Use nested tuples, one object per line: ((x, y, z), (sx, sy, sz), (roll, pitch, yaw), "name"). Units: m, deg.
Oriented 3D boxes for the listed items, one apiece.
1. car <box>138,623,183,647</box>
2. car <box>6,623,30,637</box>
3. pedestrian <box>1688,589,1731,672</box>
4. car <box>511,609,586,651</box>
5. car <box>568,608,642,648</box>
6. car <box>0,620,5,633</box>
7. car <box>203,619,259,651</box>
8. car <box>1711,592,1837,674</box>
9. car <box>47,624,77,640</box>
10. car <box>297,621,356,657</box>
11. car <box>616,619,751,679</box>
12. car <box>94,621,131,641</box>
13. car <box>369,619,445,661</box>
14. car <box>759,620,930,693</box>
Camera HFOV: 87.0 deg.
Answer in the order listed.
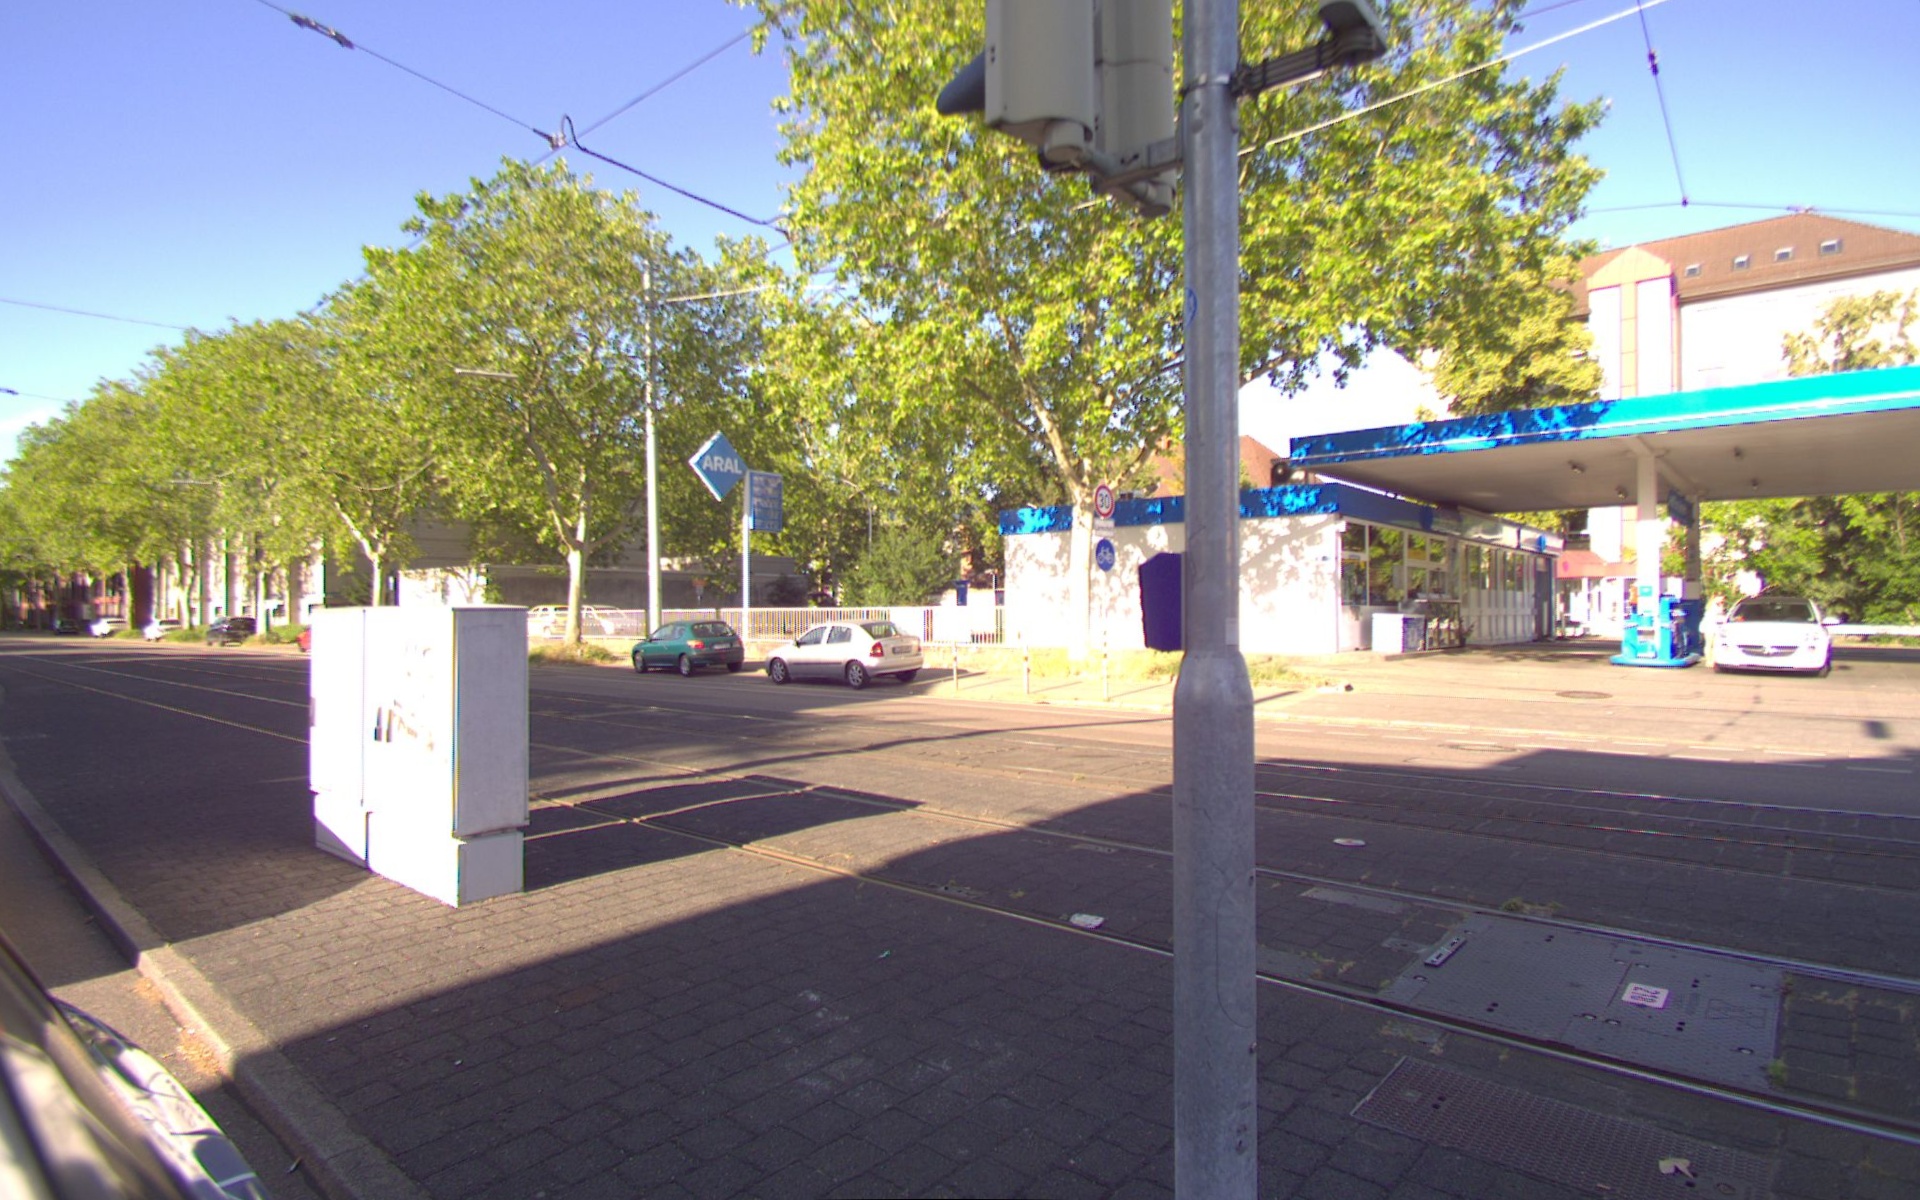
((-53.863, 2.343, 68.172), (3.748, 1.459, 1.674), (-1, 1, 41), "car")
((-112.142, 3.564, 120.497), (3.748, 1.459, 1.674), (-1, 1, 41), "car")
((15.952, 0.644, 21.546), (0.493, 1.714, 0.649), (1, -2, -45), "pedestrian")
((-17.086, 1.231, 41.965), (3.303, 1.628, 1.579), (-1, 0, 41), "car")
((-15.267, 1.196, 43.442), (3.303, 1.604, 1.579), (-1, 0, 41), "car")
((-133.933, 3.679, 140.464), (3.748, 1.798, 1.674), (-1, 1, 41), "car")
((-40.678, 1.940, 56.447), (3.748, 1.670, 1.674), (-1, 1, 41), "car")
((15.884, 0.610, 19.691), (1.757, 1.453, 3.521), (-1, -1, 41), "car")
((-85.242, 3.031, 96.037), (3.748, 1.459, 1.674), (-1, 1, 41), "car")
((-28.688, 1.756, 45.824), (2.621, 1.519, 1.579), (-1, 1, 41), "car")
((-7.402, 1.266, 26.966), (3.748, 1.413, 1.674), (-1, 1, 41), "car")
((-66.681, 2.447, 79.600), (3.748, 1.459, 1.674), (-1, 1, 41), "car")
((-21.878, 1.558, 39.997), (3.303, 1.519, 1.579), (-1, 1, 41), "car")
((-2.638, 1.205, 22.637), (3.812, 1.413, 1.674), (-1, 1, 41), "car")
